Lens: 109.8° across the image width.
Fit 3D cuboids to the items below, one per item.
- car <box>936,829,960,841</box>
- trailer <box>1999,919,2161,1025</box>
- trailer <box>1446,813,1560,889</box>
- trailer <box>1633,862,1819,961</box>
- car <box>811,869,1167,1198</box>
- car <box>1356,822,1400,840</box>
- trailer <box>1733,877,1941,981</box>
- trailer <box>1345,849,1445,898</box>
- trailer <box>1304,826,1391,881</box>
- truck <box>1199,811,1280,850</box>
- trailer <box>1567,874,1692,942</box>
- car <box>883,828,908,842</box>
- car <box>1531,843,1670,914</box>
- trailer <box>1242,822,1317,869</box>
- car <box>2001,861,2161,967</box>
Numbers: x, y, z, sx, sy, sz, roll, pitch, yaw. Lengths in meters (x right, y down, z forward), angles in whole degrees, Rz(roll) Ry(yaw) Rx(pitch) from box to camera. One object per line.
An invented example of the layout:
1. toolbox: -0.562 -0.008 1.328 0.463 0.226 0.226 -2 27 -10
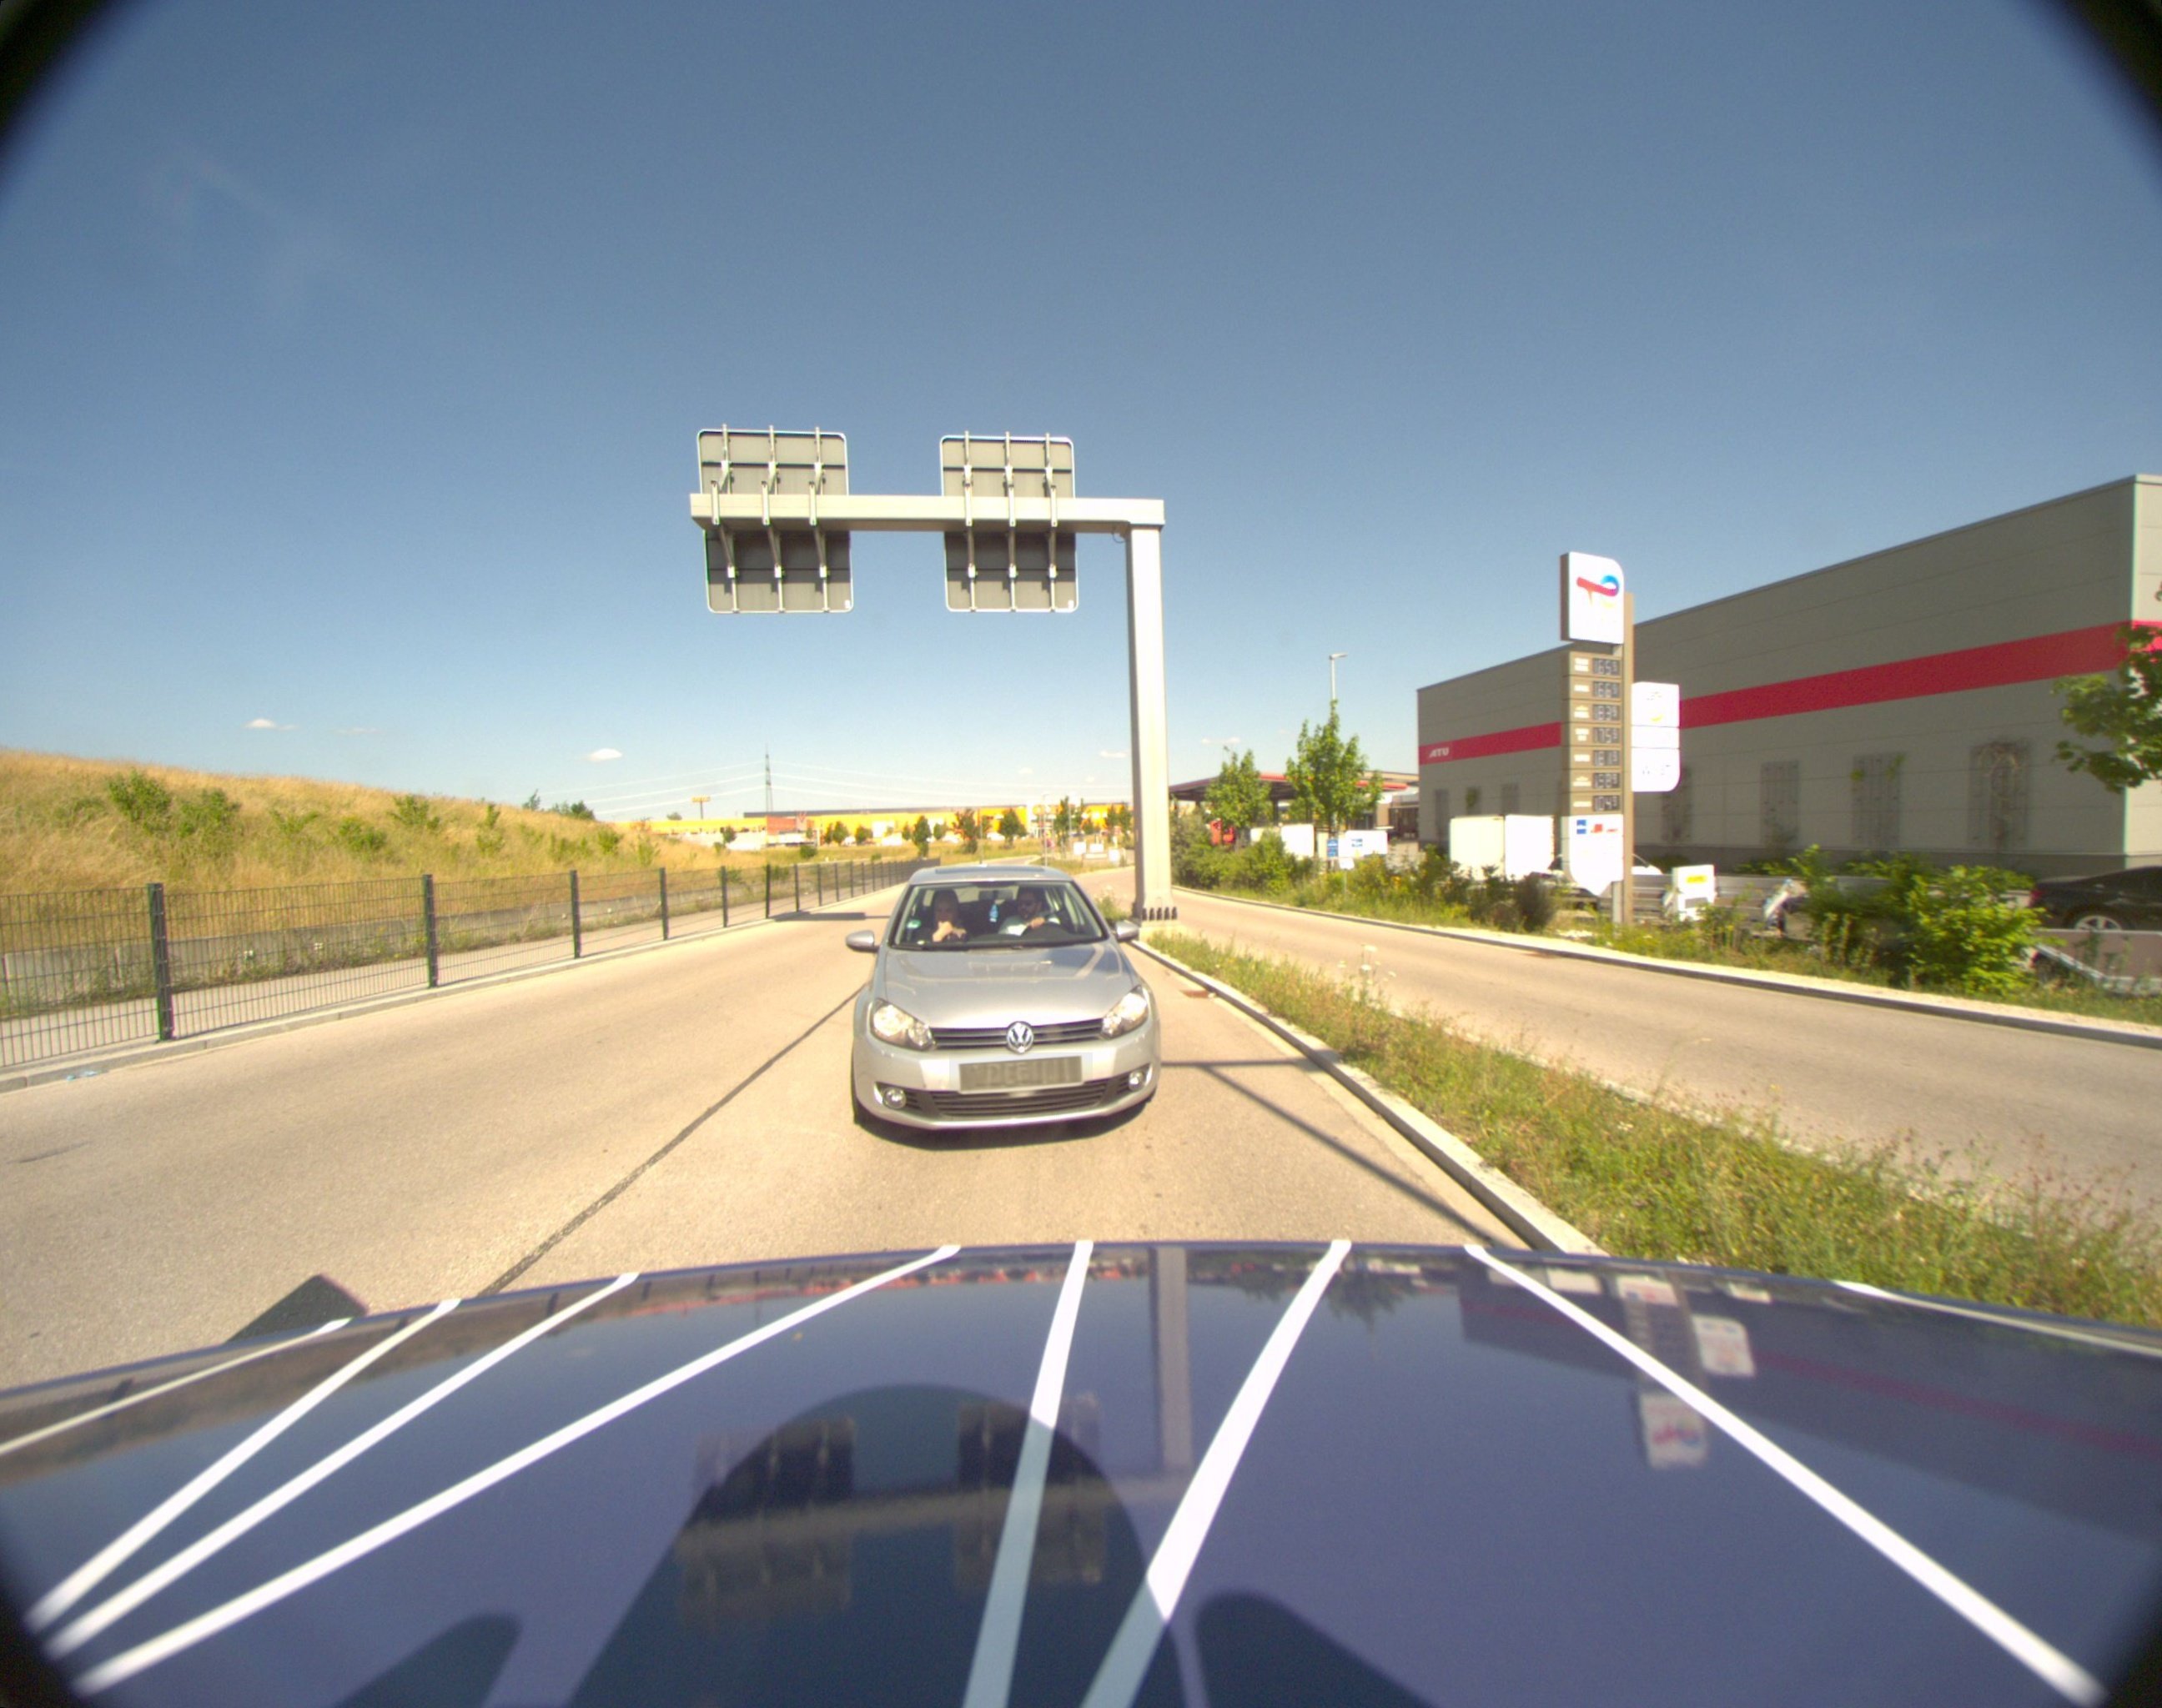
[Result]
1. car: -26.470 -3.779 151.463 4.637 2.002 1.998 -3 2 -11
2. trailer: 13.405 1.475 9.874 2.842 0.877 1.861 -4 2 -39
3. trailer: 12.356 -0.116 22.206 3.245 2.002 1.743 -4 2 -38
4. trailer: 11.981 0.969 14.100 3.195 1.475 1.545 -3 2 -28
5. car: -0.695 0.906 5.739 1.747 1.459 3.957 0 1 -8
6. car: 29.174 -2.274 74.659 3.683 1.566 1.695 -3 2 -1
7. trailer: 12.299 1.143 12.366 2.915 1.314 1.387 -3 2 -22
8. trailer: 11.515 0.685 27.796 3.605 1.502 1.596 -4 1 -34
9. trailer: 10.626 -0.029 30.278 2.741 2.002 1.995 -4 2 -34
10. truck: 14.921 -2.202 71.516 6.910 3.300 2.637 -3 2 -17
11. trailer: 11.332 1.049 15.672 2.780 1.080 1.317 -4 2 -37
12. car: -36.605 -3.673 149.898 4.637 2.534 1.998 -3 2 -11
13. car: 13.536 0.567 19.722 4.006 1.527 1.714 -4 2 -36
14. trailer: 9.295 -0.412 35.431 1.994 2.002 3.212 -1 2 44
15. car: 17.095 0.919 11.047 1.803 1.475 4.494 -3 1 -6
